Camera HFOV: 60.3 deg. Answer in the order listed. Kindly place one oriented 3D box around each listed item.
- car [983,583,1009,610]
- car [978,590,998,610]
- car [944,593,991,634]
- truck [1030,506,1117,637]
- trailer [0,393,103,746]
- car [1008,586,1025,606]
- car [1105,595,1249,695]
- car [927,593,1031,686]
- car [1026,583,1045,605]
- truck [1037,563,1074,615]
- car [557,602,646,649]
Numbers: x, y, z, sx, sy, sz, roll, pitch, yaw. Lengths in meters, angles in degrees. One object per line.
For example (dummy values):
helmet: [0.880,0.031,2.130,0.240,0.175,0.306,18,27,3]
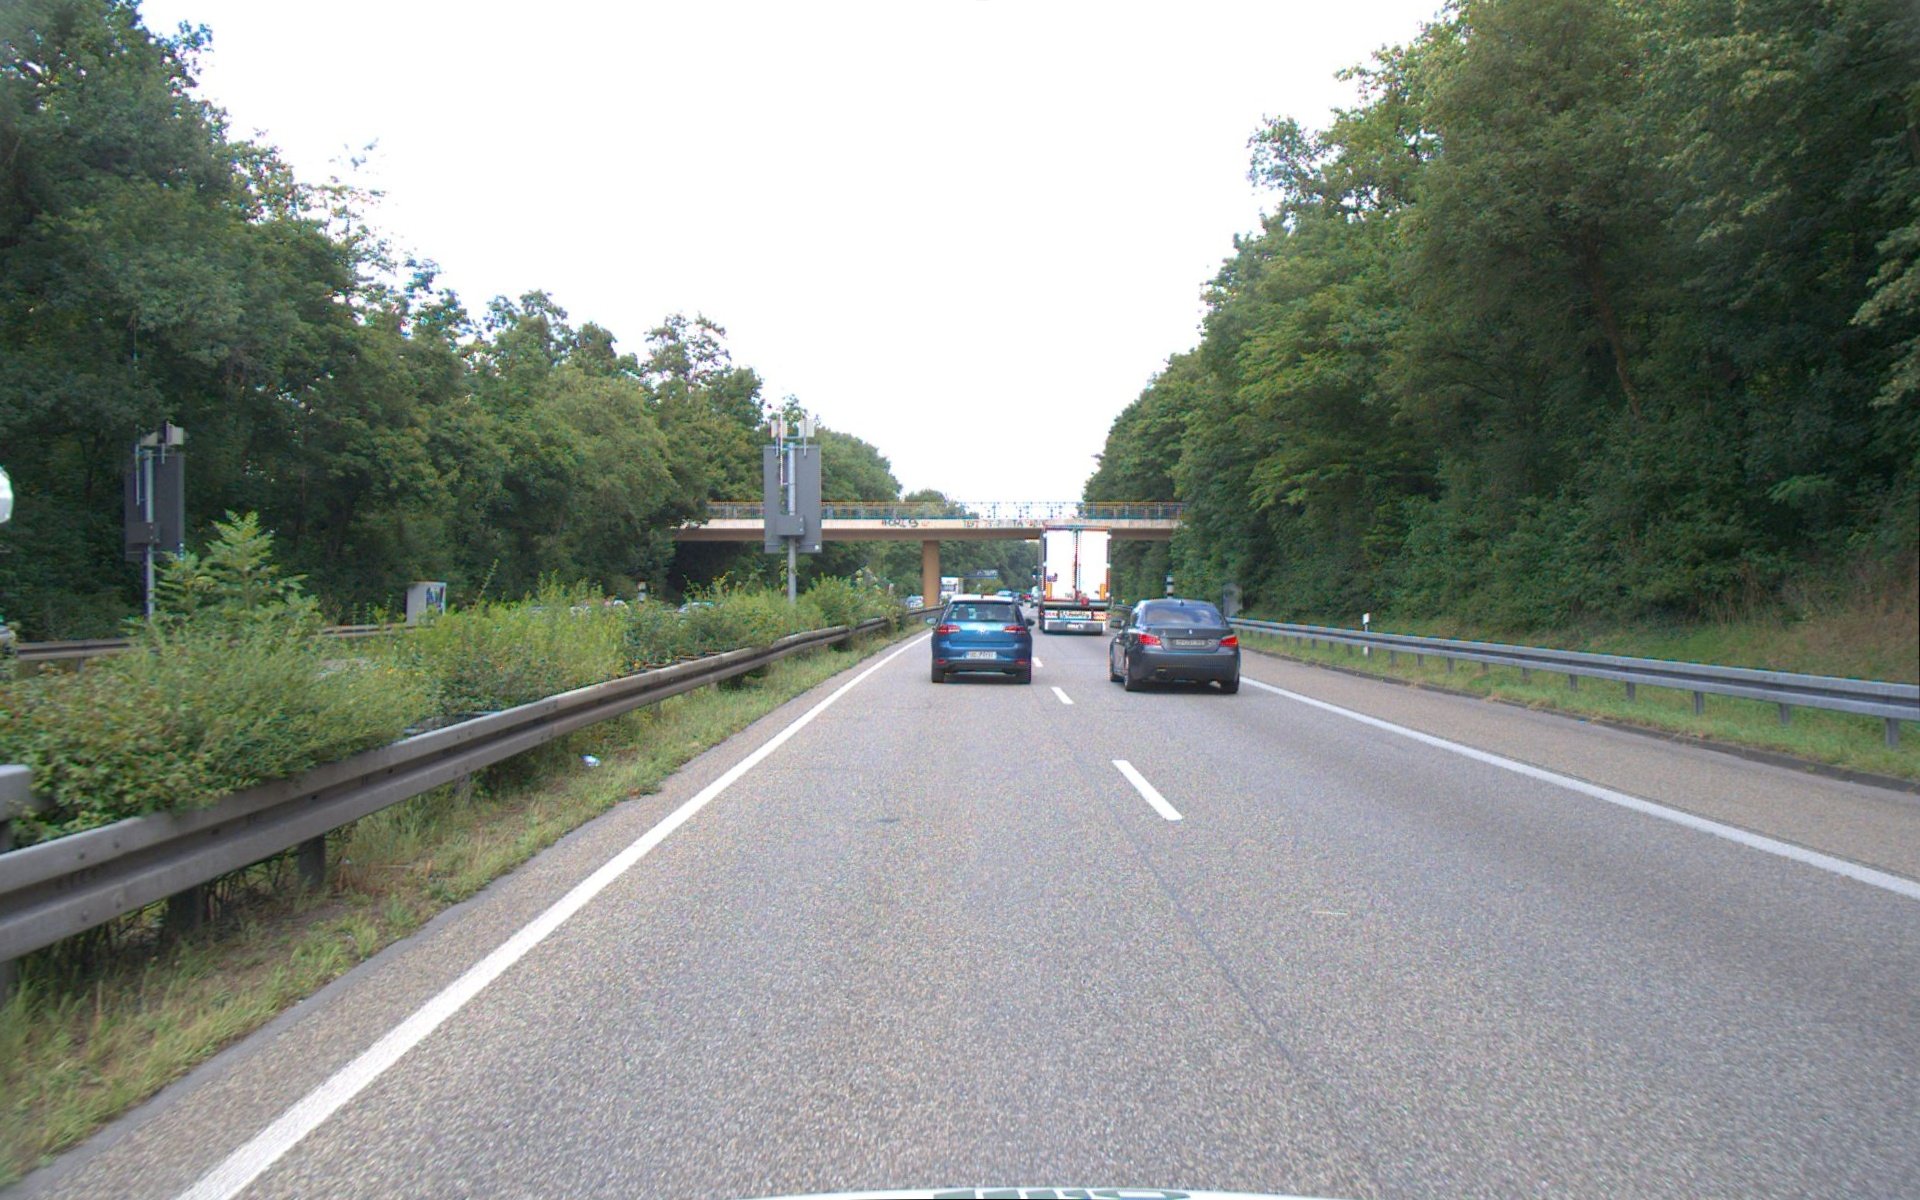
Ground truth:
car: [2.818,-0.294,128.754,1.913,2.049,4.001,-1,0,2]
car: [2.569,-0.027,151.895,1.729,1.803,4.024,-1,0,2]
car: [0.336,0.516,65.168,1.630,1.526,4.154,1,0,3]
truck: [4.498,-1.089,66.914,3.174,4.798,11.011,-1,0,3]
trailer: [-12.036,-0.305,15.228,2.878,3.900,10.309,-1,0,0]
car: [6.762,-0.491,199.835,1.952,2.368,4.442,-1,0,1]
car: [3.517,0.675,27.611,1.738,1.501,4.880,1,0,0]
car: [0.397,0.646,29.180,1.669,1.495,4.001,1,0,3]
car: [8.077,-0.658,177.399,1.952,2.294,4.443,1,1,1]
truck: [8.524,-0.873,148.962,3.165,4.463,12.974,1,0,3]
car: [-11.282,0.784,52.300,1.825,1.377,4.251,-1,0,0]
